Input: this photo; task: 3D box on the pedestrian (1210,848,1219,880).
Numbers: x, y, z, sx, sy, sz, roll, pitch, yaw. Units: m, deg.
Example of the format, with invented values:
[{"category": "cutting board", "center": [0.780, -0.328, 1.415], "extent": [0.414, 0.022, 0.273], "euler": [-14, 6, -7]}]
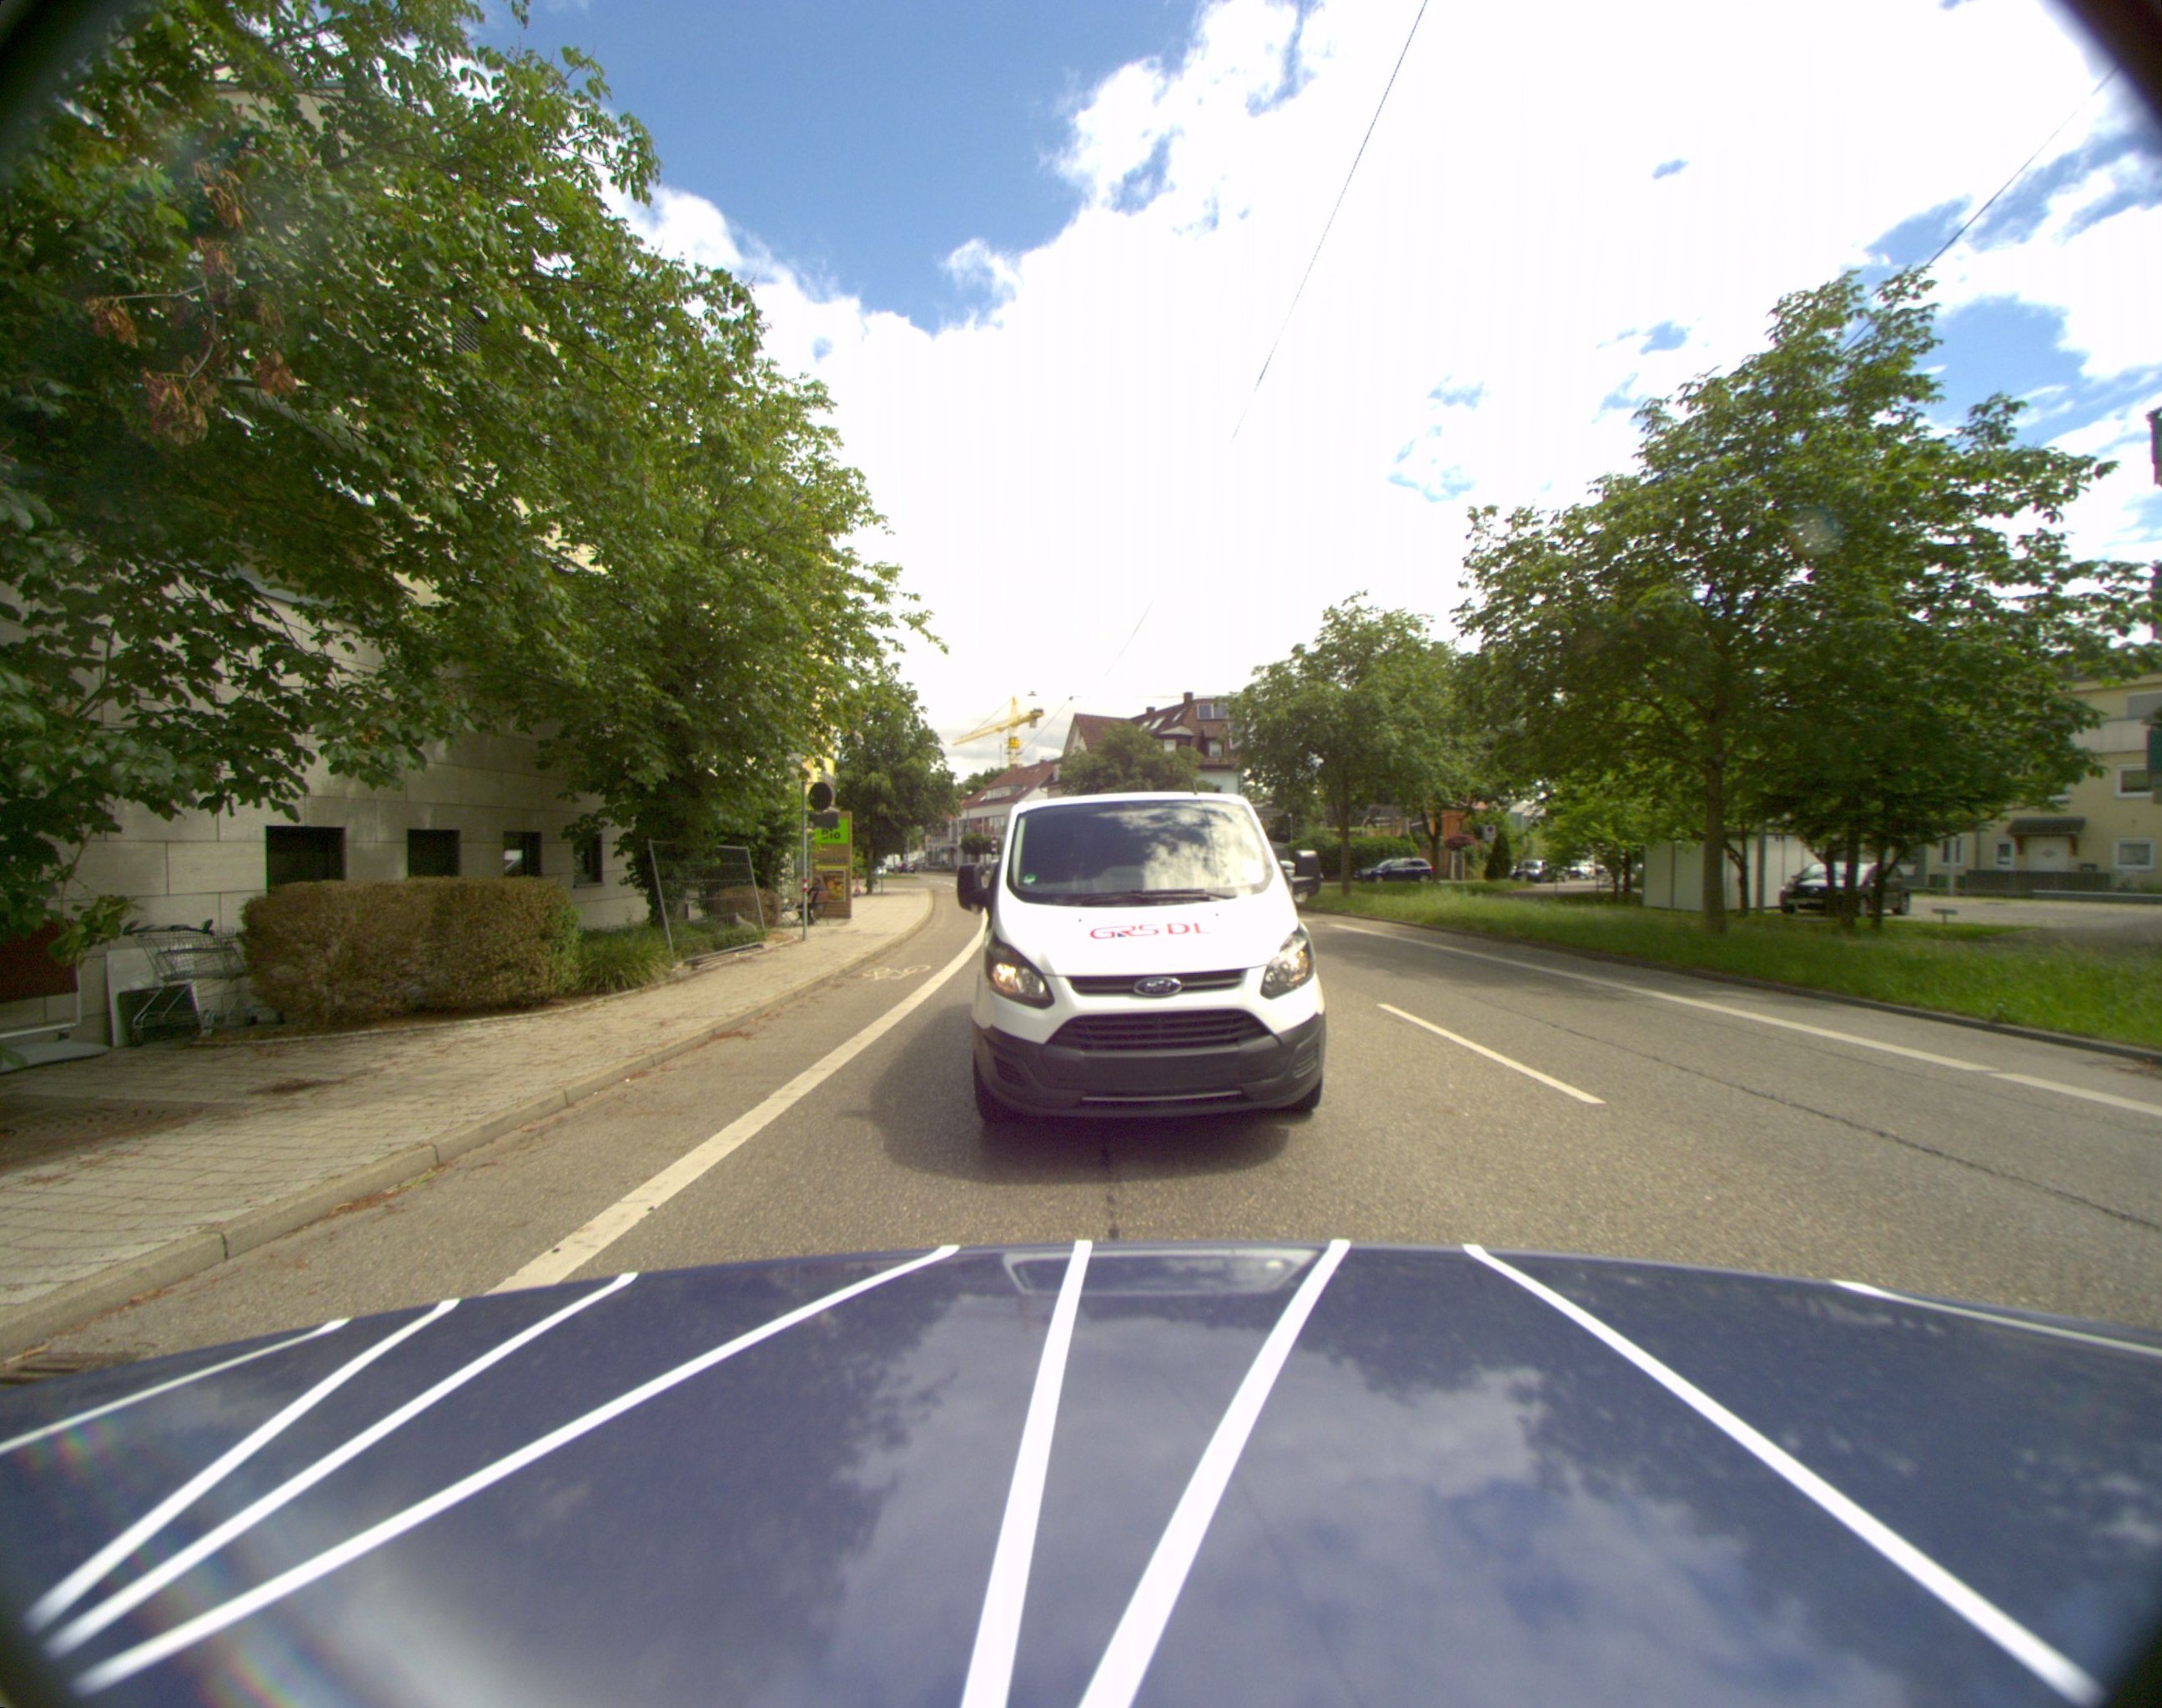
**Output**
[{"category": "pedestrian", "center": [8.217, 0.610, 46.891], "extent": [0.425, 2.002, 0.363], "euler": [-2, 1, 1]}]

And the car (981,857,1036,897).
[{"category": "car", "center": [-3.182, 0.932, 32.771], "extent": [1.695, 1.477, 3.995], "euler": [-3, 1, -14]}]

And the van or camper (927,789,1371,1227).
[{"category": "van or camper", "center": [0.320, 0.704, 6.025], "extent": [2.027, 2.002, 5.102], "euler": [0, 0, 0]}]

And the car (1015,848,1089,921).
[{"category": "car", "center": [-0.919, 0.781, 21.813], "extent": [1.852, 1.805, 3.997], "euler": [-3, 1, -5]}]

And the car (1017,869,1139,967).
[{"category": "car", "center": [-0.183, 0.993, 13.449], "extent": [1.841, 1.382, 3.998], "euler": [0, 0, -4]}]

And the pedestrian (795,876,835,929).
[{"category": "pedestrian", "center": [-6.778, 1.227, 19.380], "extent": [0.731, 1.293, 0.754], "euler": [0, 1, 0]}]

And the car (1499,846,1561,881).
[{"category": "car", "center": [27.181, 0.555, 45.939], "extent": [4.008, 2.002, 1.976], "euler": [0, 0, -39]}]

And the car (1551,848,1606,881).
[{"category": "car", "center": [33.558, 0.708, 51.195], "extent": [4.007, 2.002, 1.995], "euler": [-3, 1, -40]}]

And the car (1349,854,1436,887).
[{"category": "car", "center": [16.639, 0.848, 40.717], "extent": [3.976, 1.672, 1.717], "euler": [0, 1, -3]}]

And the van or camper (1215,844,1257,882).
[{"category": "van or camper", "center": [9.082, 0.496, 44.752], "extent": [1.793, 2.077, 3.811], "euler": [-2, 1, 2]}]

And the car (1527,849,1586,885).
[{"category": "car", "center": [30.389, 0.808, 48.554], "extent": [4.007, 2.002, 1.995], "euler": [-3, 1, -40]}]

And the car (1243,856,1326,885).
[{"category": "car", "center": [10.924, 0.865, 40.839], "extent": [4.046, 1.314, 1.534], "euler": [-3, 1, -13]}]

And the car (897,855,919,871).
[{"category": "car", "center": [-20.433, 1.025, 89.744], "extent": [1.744, 1.840, 3.991], "euler": [0, 0, -26]}]

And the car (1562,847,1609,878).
[{"category": "car", "center": [36.492, 0.607, 54.932], "extent": [4.007, 2.002, 1.893], "euler": [-3, 2, -42]}]

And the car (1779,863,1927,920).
[{"category": "car", "center": [20.944, 0.986, 20.594], "extent": [4.007, 1.411, 1.789], "euler": [2, -1, -29]}]

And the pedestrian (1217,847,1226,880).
[{"category": "pedestrian", "center": [8.692, 0.569, 46.914], "extent": [0.383, 1.979, 0.443], "euler": [-3, 1, 0]}]
